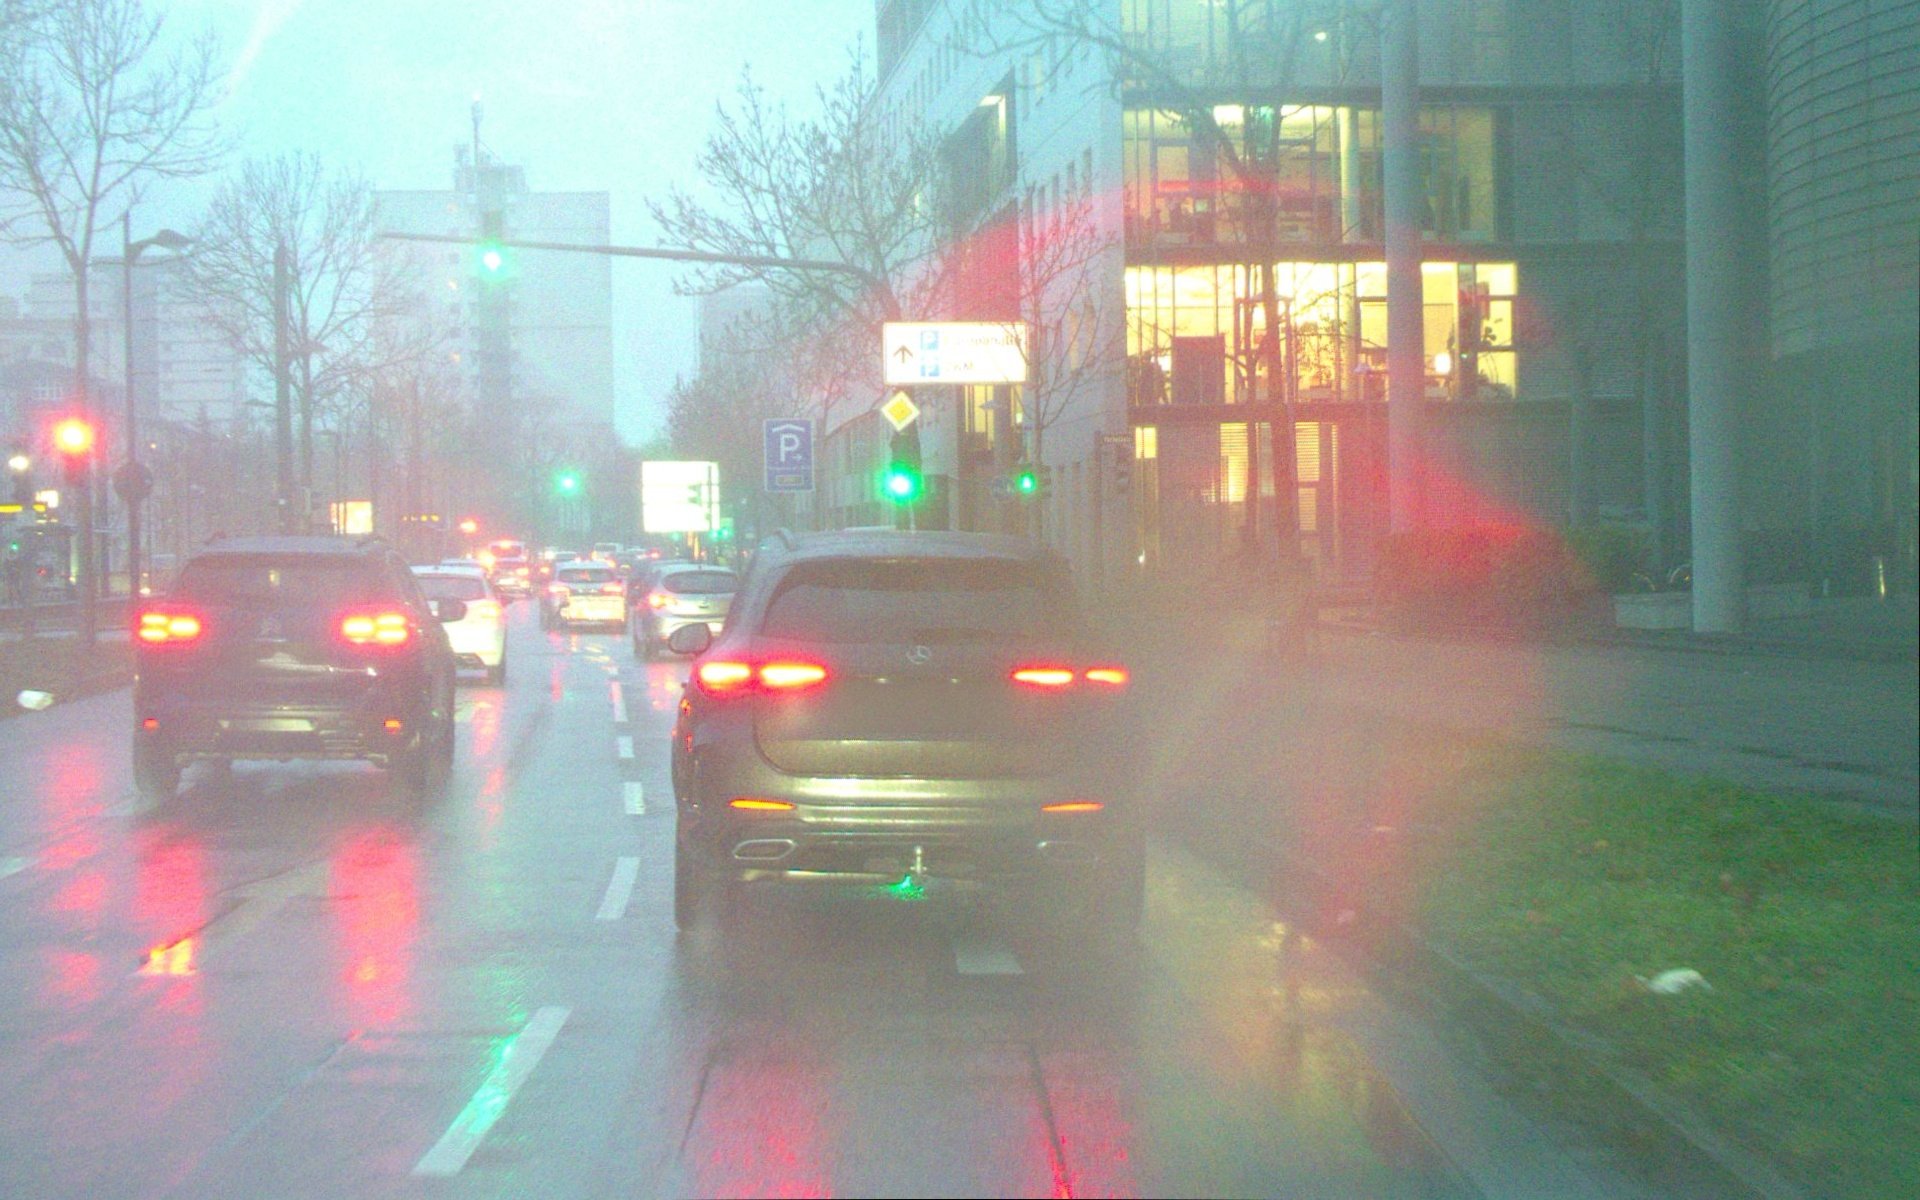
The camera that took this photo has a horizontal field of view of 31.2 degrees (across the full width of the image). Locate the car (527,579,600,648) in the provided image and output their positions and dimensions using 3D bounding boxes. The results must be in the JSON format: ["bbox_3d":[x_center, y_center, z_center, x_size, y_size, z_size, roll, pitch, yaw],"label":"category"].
[{"bbox_3d":[-9.149,0.289,79.499,1.614,1.516,3.409,1,1,-6],"label":"car"}]

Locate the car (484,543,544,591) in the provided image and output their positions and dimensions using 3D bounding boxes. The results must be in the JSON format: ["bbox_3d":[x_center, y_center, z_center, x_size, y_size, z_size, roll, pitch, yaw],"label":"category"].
[{"bbox_3d":[-16.534,-1.224,127.557,1.993,1.709,3.423,1,1,-5],"label":"car"}]

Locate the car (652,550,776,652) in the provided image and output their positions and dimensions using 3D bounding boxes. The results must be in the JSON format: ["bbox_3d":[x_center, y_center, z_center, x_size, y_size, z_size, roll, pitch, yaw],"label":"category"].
[{"bbox_3d":[-3.874,-0.009,54.428,1.867,1.537,3.611,1,1,-3],"label":"car"}]

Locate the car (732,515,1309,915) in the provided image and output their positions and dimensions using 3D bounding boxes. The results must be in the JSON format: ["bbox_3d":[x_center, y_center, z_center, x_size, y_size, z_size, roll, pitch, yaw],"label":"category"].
[{"bbox_3d":[0.113,0.423,14.770,1.993,1.478,3.701,1,0,-6],"label":"car"}]

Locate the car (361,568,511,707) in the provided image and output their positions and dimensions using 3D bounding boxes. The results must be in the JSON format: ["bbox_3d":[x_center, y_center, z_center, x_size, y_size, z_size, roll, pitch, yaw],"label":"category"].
[{"bbox_3d":[-6.526,0.433,43.071,1.689,1.630,3.474,1,1,-6],"label":"car"}]

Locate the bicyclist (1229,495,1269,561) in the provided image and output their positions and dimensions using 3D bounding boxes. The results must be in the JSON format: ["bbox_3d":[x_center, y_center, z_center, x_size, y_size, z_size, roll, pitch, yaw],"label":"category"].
[{"bbox_3d":[5.861,-1.467,69.816,0.622,1.325,0.565,1,1,27],"label":"bicyclist"}]

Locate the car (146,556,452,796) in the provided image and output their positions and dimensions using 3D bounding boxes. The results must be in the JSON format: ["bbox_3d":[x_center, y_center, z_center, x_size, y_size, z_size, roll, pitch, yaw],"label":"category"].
[{"bbox_3d":[-4.364,0.447,23.185,1.817,1.445,4.001,1,1,-8],"label":"car"}]

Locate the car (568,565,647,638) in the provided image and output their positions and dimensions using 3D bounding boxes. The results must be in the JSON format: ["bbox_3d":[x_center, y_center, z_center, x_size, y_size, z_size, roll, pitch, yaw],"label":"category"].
[{"bbox_3d":[-7.546,0.013,73.686,1.623,1.493,3.527,1,1,-6],"label":"car"}]

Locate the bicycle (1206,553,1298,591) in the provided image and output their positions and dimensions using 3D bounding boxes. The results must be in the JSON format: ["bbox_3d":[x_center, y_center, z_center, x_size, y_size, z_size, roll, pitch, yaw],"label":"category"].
[{"bbox_3d":[5.931,-0.568,69.773,1.731,0.743,0.650,1,1,28],"label":"bicycle"}]
